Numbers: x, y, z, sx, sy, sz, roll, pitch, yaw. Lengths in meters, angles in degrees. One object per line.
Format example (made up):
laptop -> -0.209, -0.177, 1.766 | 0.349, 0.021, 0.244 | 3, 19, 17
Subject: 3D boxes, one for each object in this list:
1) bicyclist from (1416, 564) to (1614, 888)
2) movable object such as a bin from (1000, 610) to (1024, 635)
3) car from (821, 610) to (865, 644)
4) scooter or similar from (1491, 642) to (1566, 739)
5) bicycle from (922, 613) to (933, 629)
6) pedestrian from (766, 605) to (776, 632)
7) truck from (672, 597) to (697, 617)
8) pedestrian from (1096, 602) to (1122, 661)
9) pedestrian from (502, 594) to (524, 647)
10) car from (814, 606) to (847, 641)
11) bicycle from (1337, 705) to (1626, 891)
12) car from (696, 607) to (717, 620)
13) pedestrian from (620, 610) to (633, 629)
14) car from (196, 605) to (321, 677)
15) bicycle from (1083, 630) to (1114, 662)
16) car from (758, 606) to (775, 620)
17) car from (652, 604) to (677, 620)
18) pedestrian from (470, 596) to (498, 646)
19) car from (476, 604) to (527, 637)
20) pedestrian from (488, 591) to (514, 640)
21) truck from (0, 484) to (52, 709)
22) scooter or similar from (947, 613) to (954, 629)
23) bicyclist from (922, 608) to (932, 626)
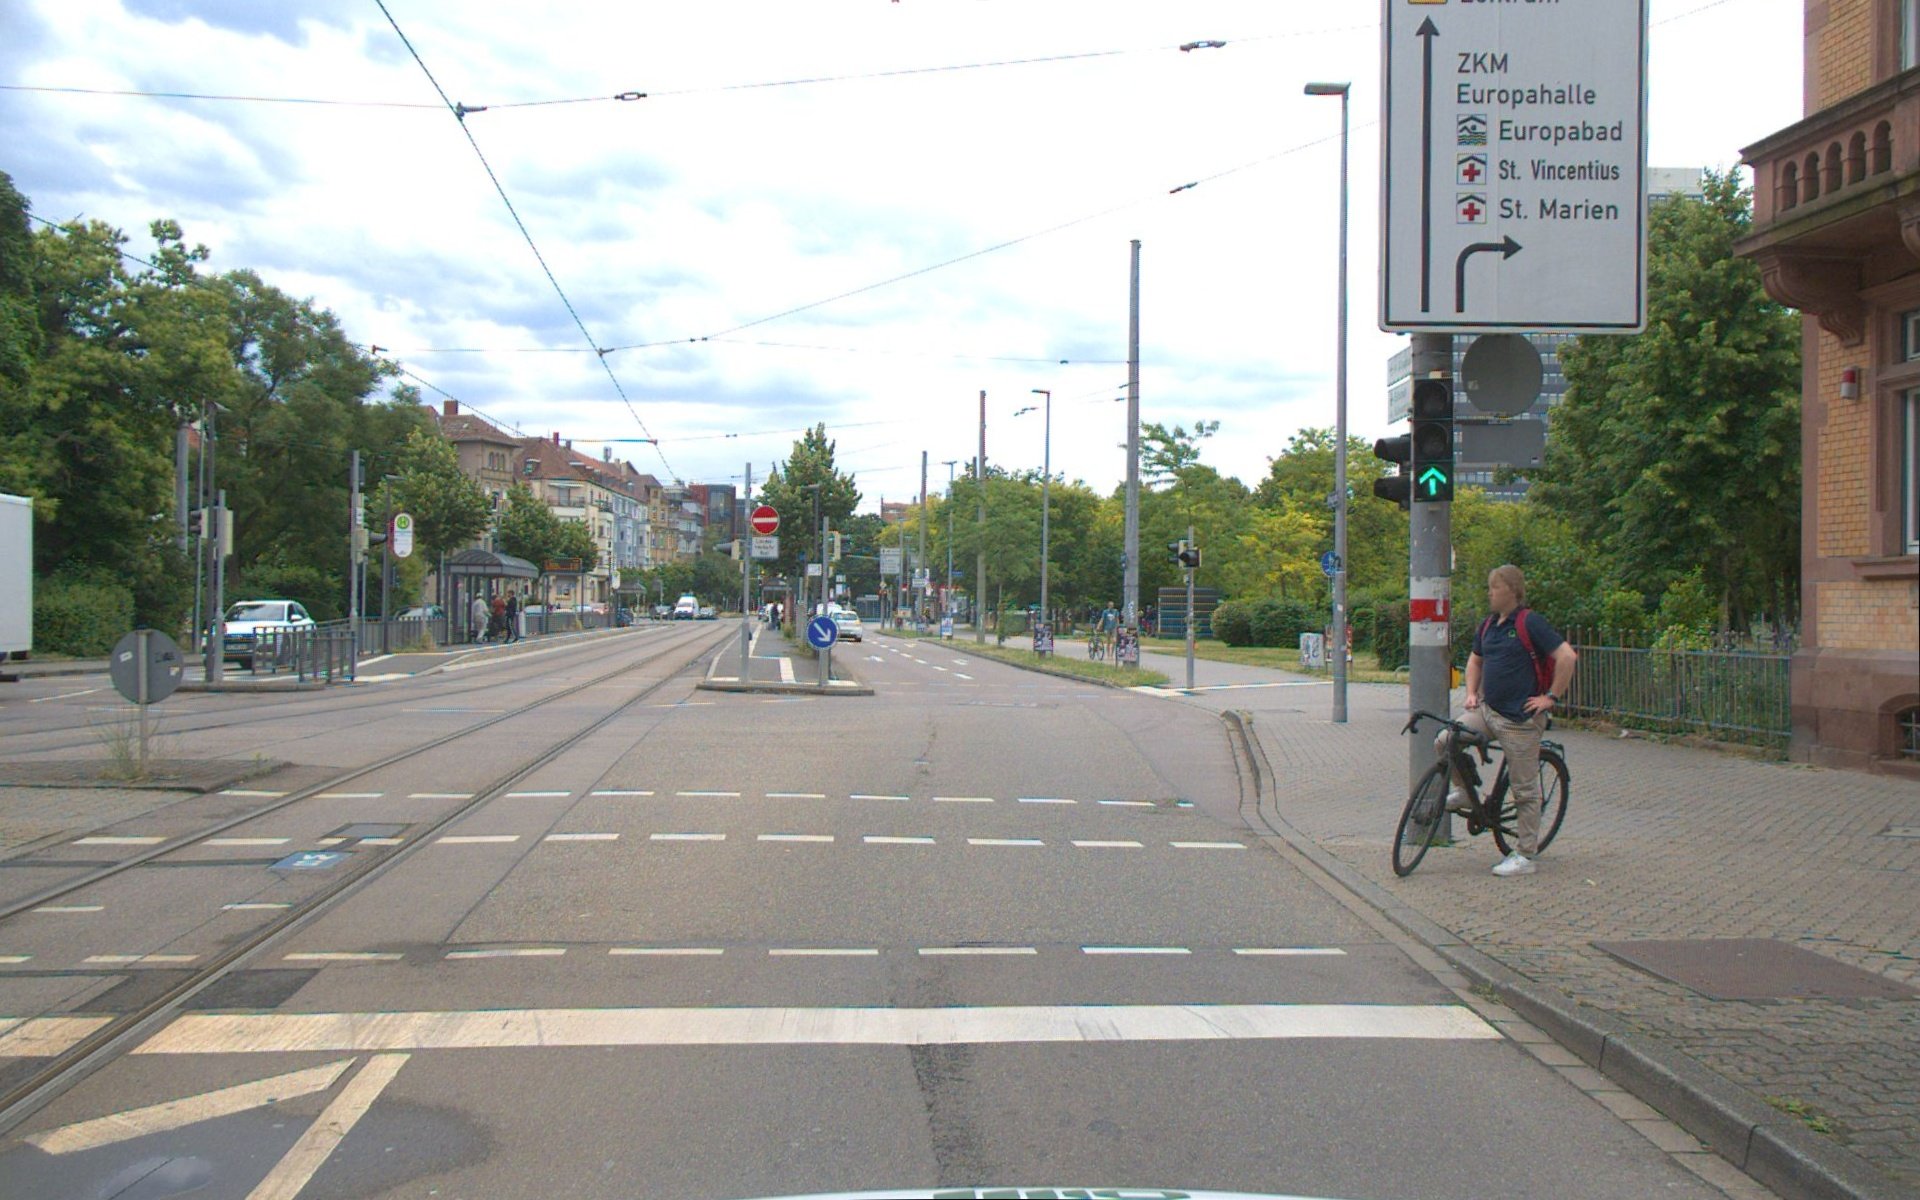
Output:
bicyclist -> 3.302, 0.711, 9.868 | 0.675, 1.827, 0.879 | 2, -1, -38
movable object such as a bin -> 3.022, 1.302, 95.889 | 1.257, 1.414, 1.157 | 1, -1, -6
car -> -5.612, 1.275, 79.074 | 1.749, 1.498, 4.002 | 1, 0, -9
scooter or similar -> 7.139, 1.123, 20.805 | 0.369, 1.161, 1.197 | 0, -1, -9
bicycle -> -2.493, 1.586, 126.220 | 0.666, 1.175, 1.896 | 0, 0, -5
pedestrian -> -10.952, 1.082, 95.669 | 0.521, 1.585, 0.570 | 0, -1, -3
truck -> -29.508, 0.806, 177.190 | 1.751, 2.068, 5.395 | 1, -1, 0
pedestrian -> 4.825, 1.022, 53.628 | 0.725, 1.902, 0.681 | 0, -1, -5
pedestrian -> -14.859, 0.669, 54.974 | 0.688, 1.745, 0.696 | 1, -1, -15
car -> -7.670, 1.380, 97.876 | 1.748, 1.997, 4.375 | 1, 0, -7
bicycle -> 3.180, 1.147, 10.009 | 1.850, 0.940, 0.785 | 2, -1, -39
car -> -29.149, 1.573, 190.275 | 1.734, 1.519, 3.886 | 1, -1, 0
pedestrian -> -22.358, 1.312, 110.888 | 0.849, 1.289, 0.692 | 0, 0, -9
car -> -17.329, 0.995, 41.070 | 1.737, 1.668, 4.528 | 1, -1, -8
bicycle -> 4.482, 1.481, 53.615 | 0.642, 1.020, 1.776 | 1, 0, -6
car -> -22.566, 1.533, 192.865 | 1.735, 1.519, 3.884 | 1, -1, -3
car -> -29.533, 1.237, 165.283 | 1.734, 1.519, 3.886 | 1, -1, 0
pedestrian -> -15.904, 0.698, 55.261 | 0.663, 1.652, 0.634 | 0, -1, 8
car -> -21.897, 0.973, 79.119 | 1.736, 1.519, 3.881 | 1, -1, -7
pedestrian -> -16.186, 0.551, 58.374 | 0.754, 1.689, 1.022 | 0, -1, -9
truck -> -14.467, -0.077, 21.671 | 2.144, 3.213, 7.314 | 1, -1, -10
scooter or similar -> -0.711, 1.525, 121.809 | 0.368, 1.161, 1.200 | 0, -1, 4
bicyclist -> -2.505, 1.294, 126.230 | 0.666, 1.404, 0.726 | 0, 0, -6
